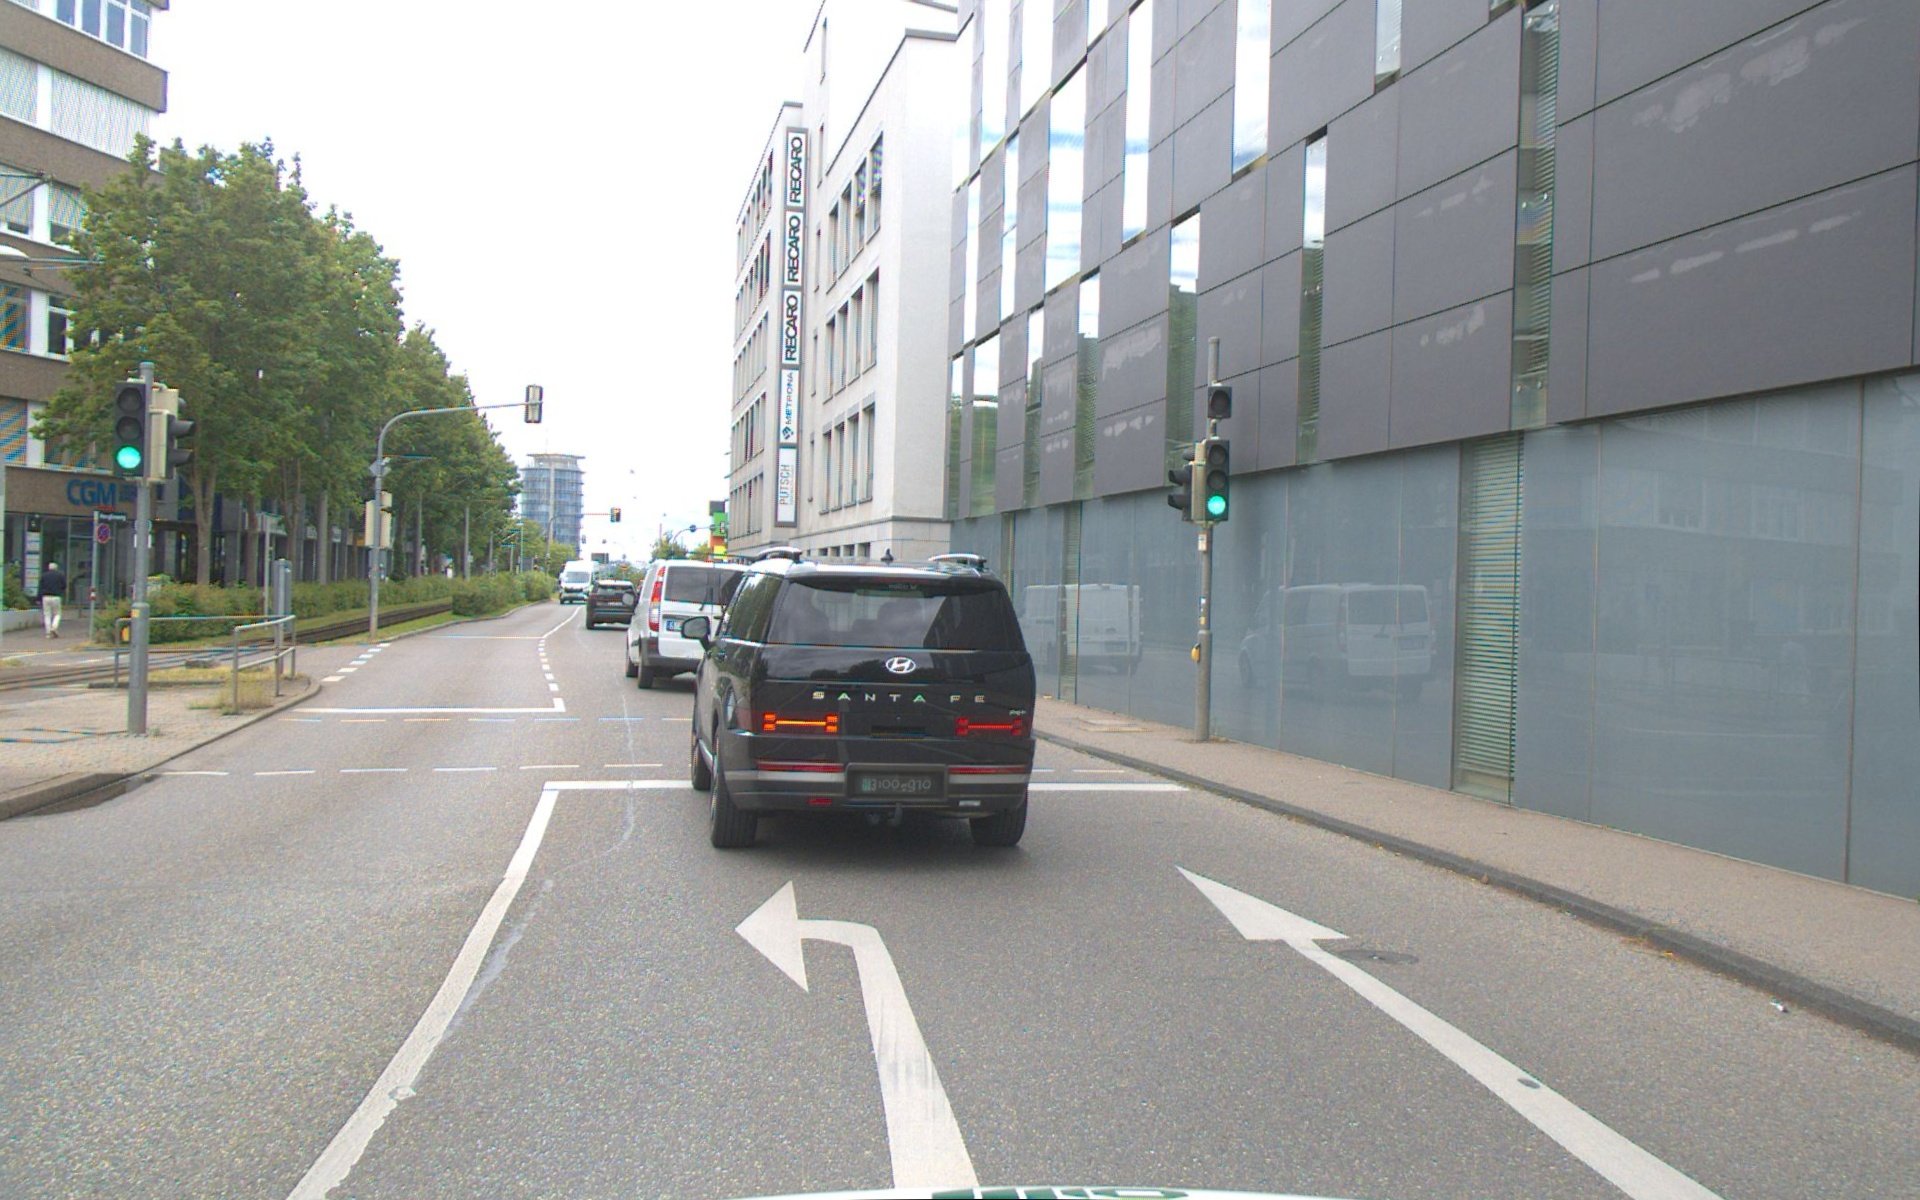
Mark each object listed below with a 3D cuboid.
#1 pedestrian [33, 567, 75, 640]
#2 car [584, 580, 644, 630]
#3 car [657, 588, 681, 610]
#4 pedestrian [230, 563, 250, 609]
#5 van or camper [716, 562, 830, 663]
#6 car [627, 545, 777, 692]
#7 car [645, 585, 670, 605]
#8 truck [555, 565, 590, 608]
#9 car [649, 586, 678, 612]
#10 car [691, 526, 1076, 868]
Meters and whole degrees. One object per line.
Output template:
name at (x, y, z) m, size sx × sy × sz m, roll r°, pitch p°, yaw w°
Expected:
pedestrian at (-21.644, 0.078, 39.512) m, size 0.675 × 1.735 × 0.681 m, roll 0°, pitch 0°, yaw -10°
car at (-11.996, 0.154, 57.545) m, size 1.727 × 1.637 × 4.180 m, roll 2°, pitch 0°, yaw -9°
car at (-22.448, -0.097, 127.790) m, size 1.727 × 1.637 × 4.179 m, roll 2°, pitch 0°, yaw -9°
pedestrian at (-31.962, -0.620, 73.446) m, size 0.669 × 2.049 × 0.569 m, roll 1°, pitch 0°, yaw -13°
van or camper at (-4.100, 0.237, 35.681) m, size 1.959 × 1.949 × 4.318 m, roll 3°, pitch 0°, yaw -12°
car at (-4.082, 0.253, 25.566) m, size 1.899 × 2.029 × 4.519 m, roll 2°, pitch 0°, yaw -13°
car at (-29.650, -0.471, 162.153) m, size 1.644 × 1.914 × 3.973 m, roll 2°, pitch 0°, yaw -22°
truck at (-25.358, -0.882, 108.264) m, size 2.128 × 2.661 × 5.776 m, roll 1°, pitch 0°, yaw -13°
car at (-19.648, -0.060, 109.715) m, size 1.727 × 1.637 × 4.179 m, roll 2°, pitch 0°, yaw -9°
car at (-0.735, 0.528, 10.978) m, size 1.875 × 1.780 × 4.384 m, roll 2°, pitch 0°, yaw -11°
